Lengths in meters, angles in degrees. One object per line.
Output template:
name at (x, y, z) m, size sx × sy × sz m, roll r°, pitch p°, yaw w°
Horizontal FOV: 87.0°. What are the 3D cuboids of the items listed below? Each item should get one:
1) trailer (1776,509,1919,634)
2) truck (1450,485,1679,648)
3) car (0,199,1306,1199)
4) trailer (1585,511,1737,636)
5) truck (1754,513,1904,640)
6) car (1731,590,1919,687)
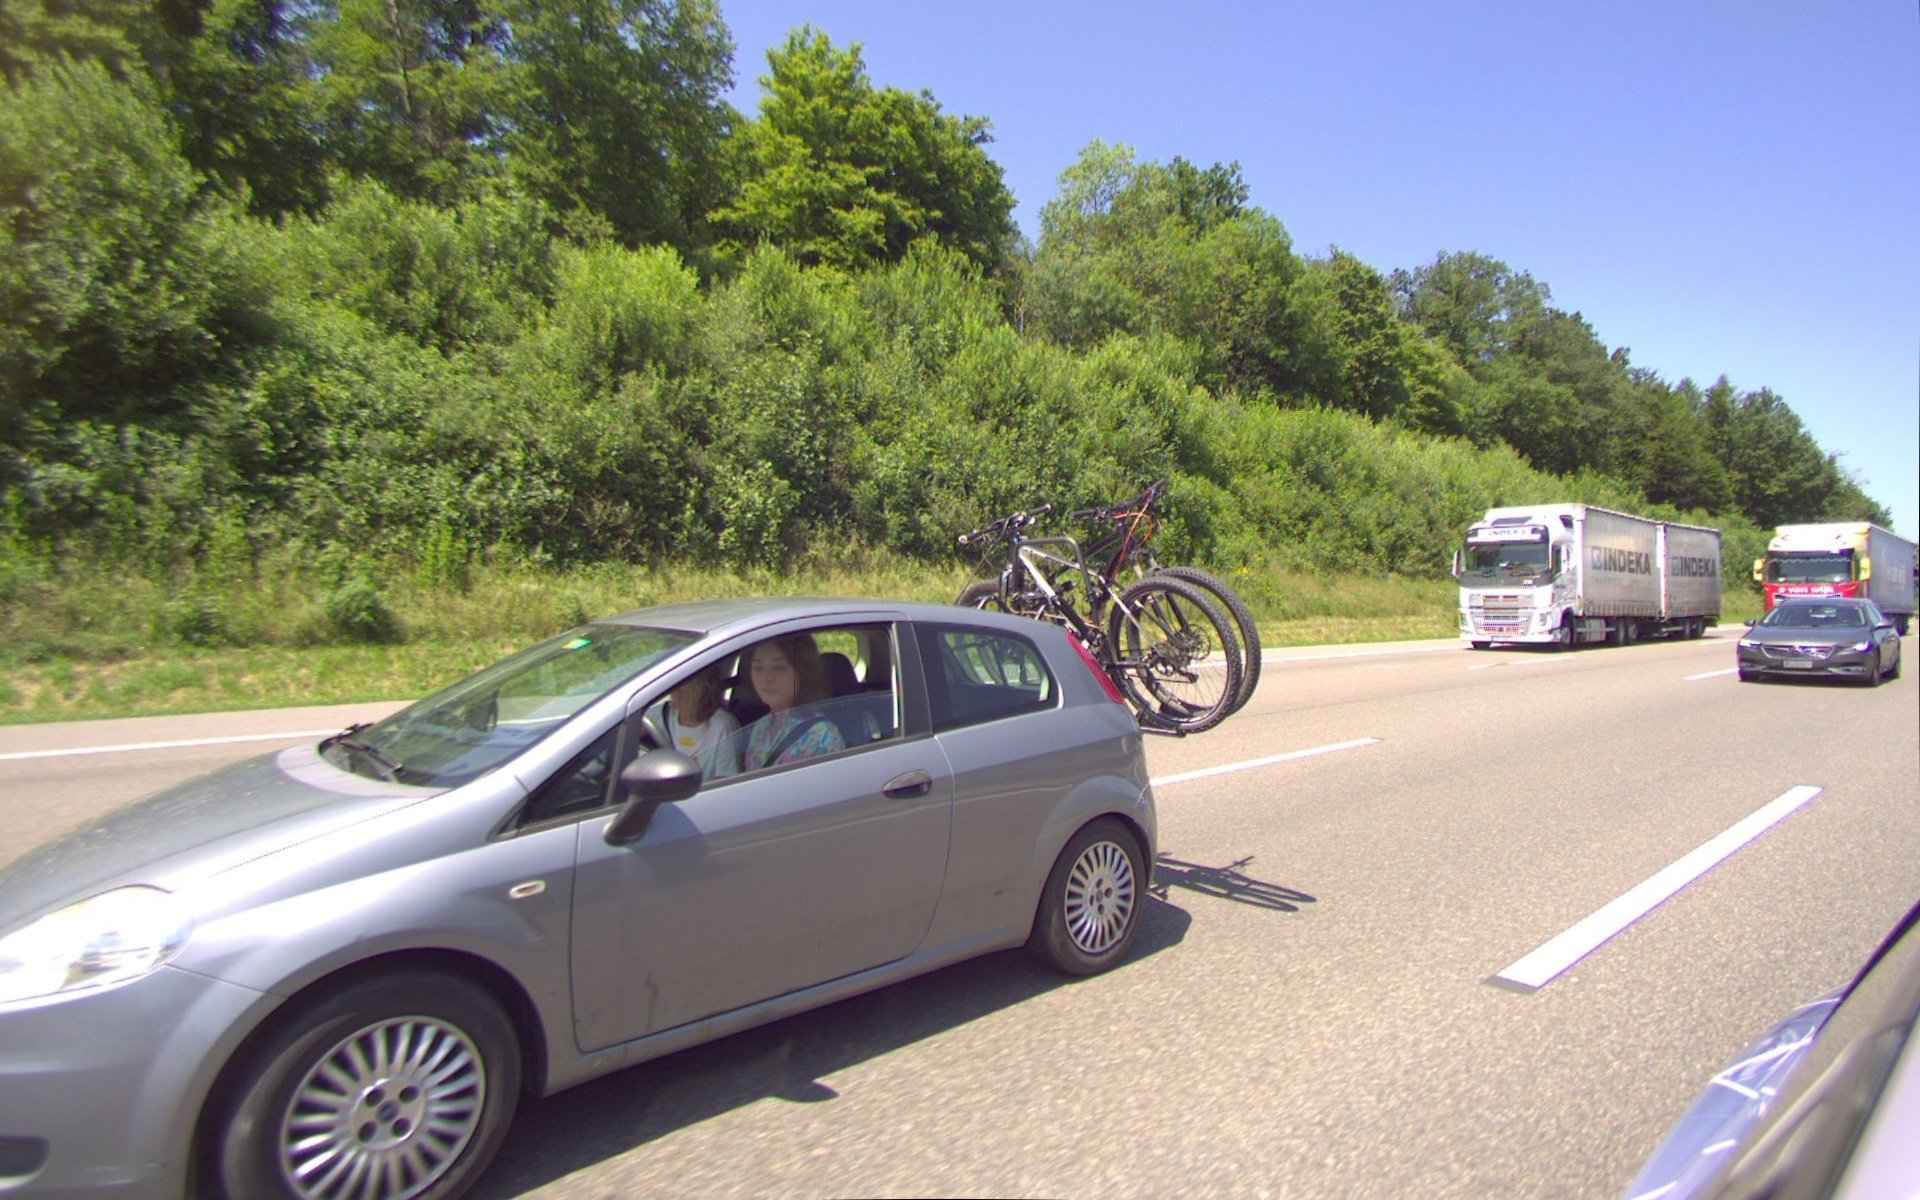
trailer at (35.491, -0.972, 39.857) m, size 14.592 × 4.195 × 2.924 m, roll 0°, pitch 1°, yaw -42°
truck at (18.653, -0.885, 30.759) m, size 10.777 × 4.214 × 2.726 m, roll 0°, pitch 0°, yaw -41°
car at (-0.859, 0.351, 3.751) m, size 4.700 × 2.080 × 1.964 m, roll 0°, pitch -1°, yaw -41°
trailer at (25.691, -0.877, 36.884) m, size 8.236 × 4.121 × 2.583 m, roll 0°, pitch 0°, yaw -41°
truck at (30.668, -0.750, 35.605) m, size 7.408 × 4.031 × 3.016 m, roll 0°, pitch 0°, yaw -41°
car at (15.846, 0.579, 18.354) m, size 5.133 × 1.471 × 1.970 m, roll -1°, pitch 2°, yaw -41°
